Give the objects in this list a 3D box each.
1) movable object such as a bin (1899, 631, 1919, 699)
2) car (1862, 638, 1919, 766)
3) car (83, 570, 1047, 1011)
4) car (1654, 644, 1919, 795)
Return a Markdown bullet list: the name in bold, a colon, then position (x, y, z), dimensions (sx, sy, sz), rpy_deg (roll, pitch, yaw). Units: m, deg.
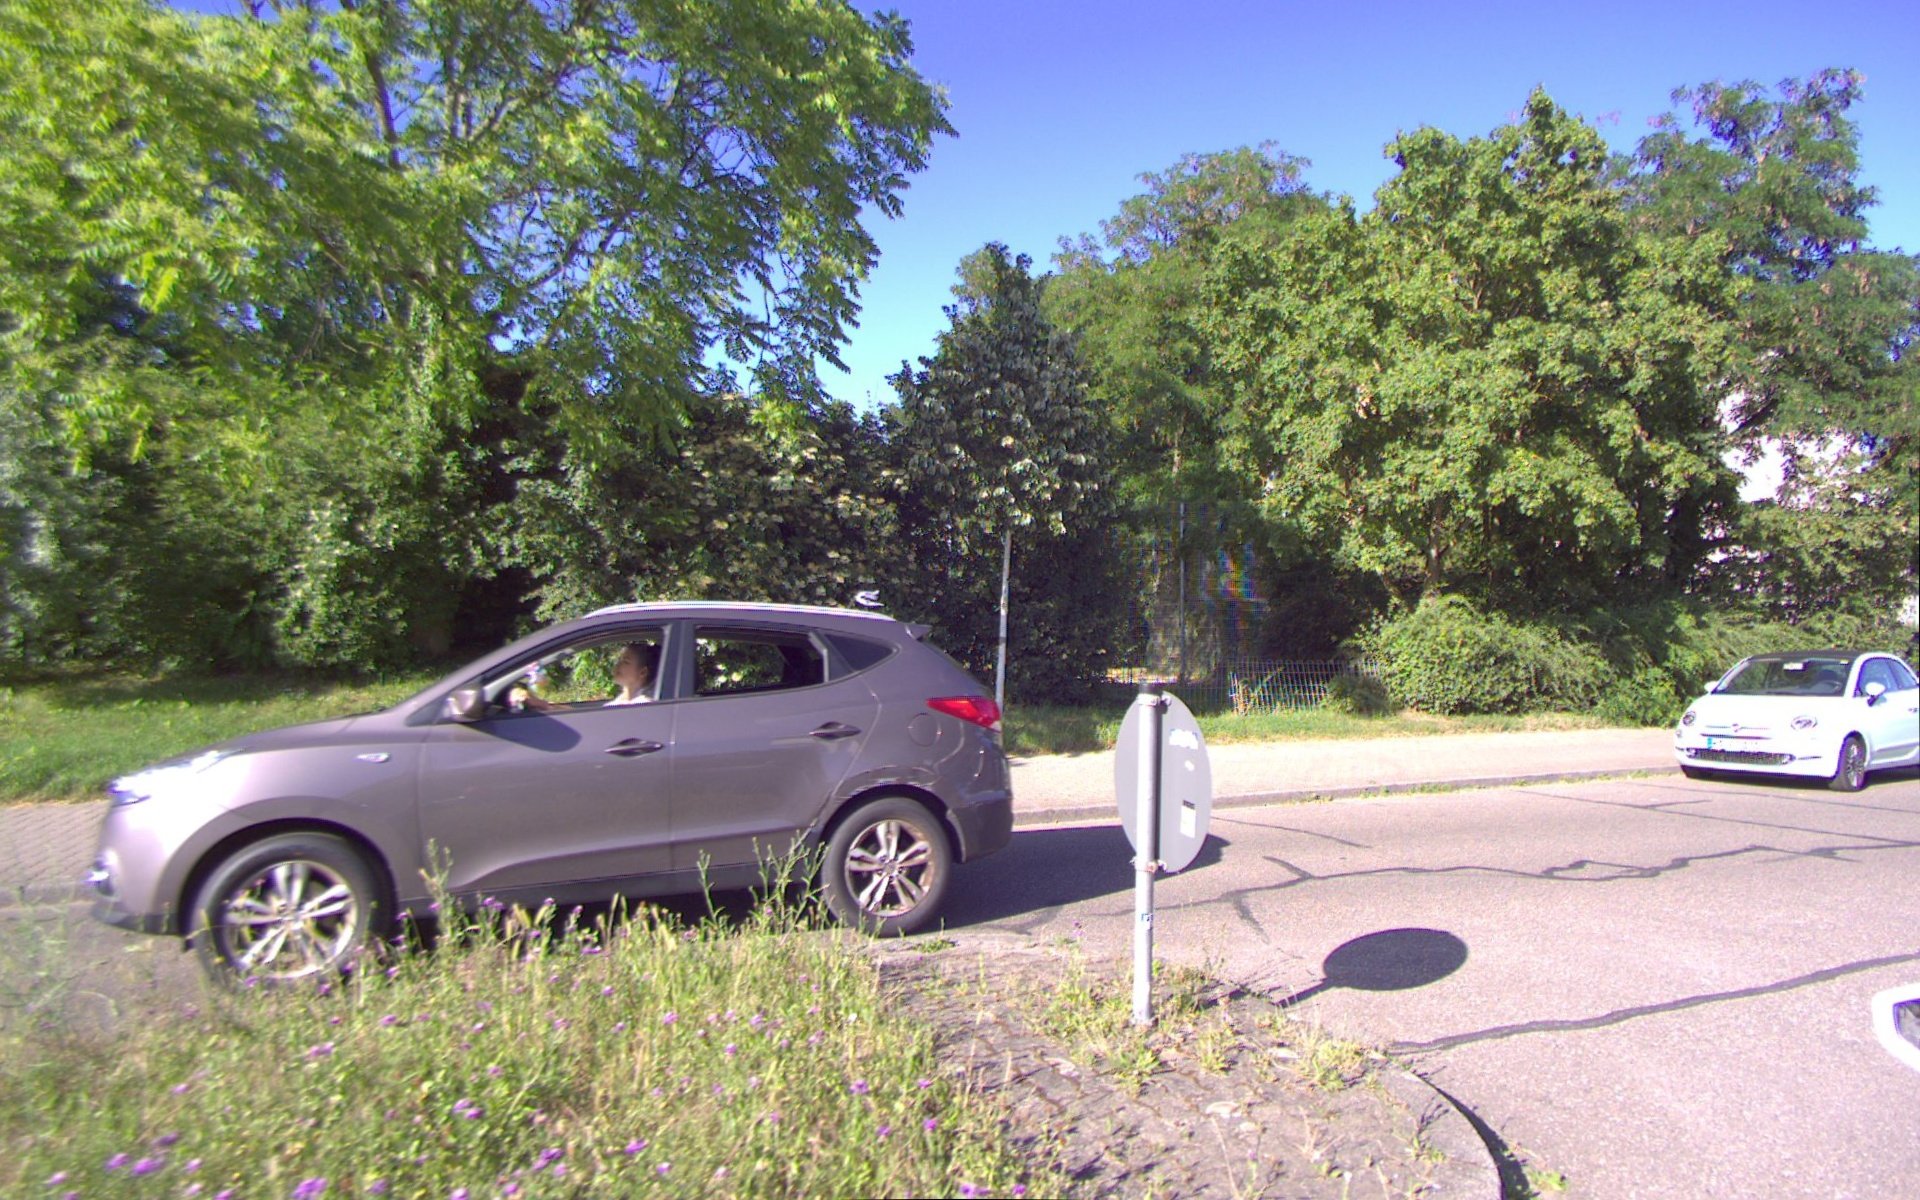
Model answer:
- **movable object such as a bin**: position (23.116, 1.528, 23.538), dimensions (1.263, 1.571, 1.254), rpy_deg (2, -2, -26)
- **car**: position (14.506, 1.345, 13.619), dimensions (4.188, 1.659, 1.672), rpy_deg (1, -4, -22)
- **car**: position (-1.787, 0.836, 5.560), dimensions (4.120, 1.727, 1.911), rpy_deg (1, -3, -19)
- **car**: position (10.003, 1.295, 11.842), dimensions (3.376, 1.547, 1.620), rpy_deg (1, -3, -28)
